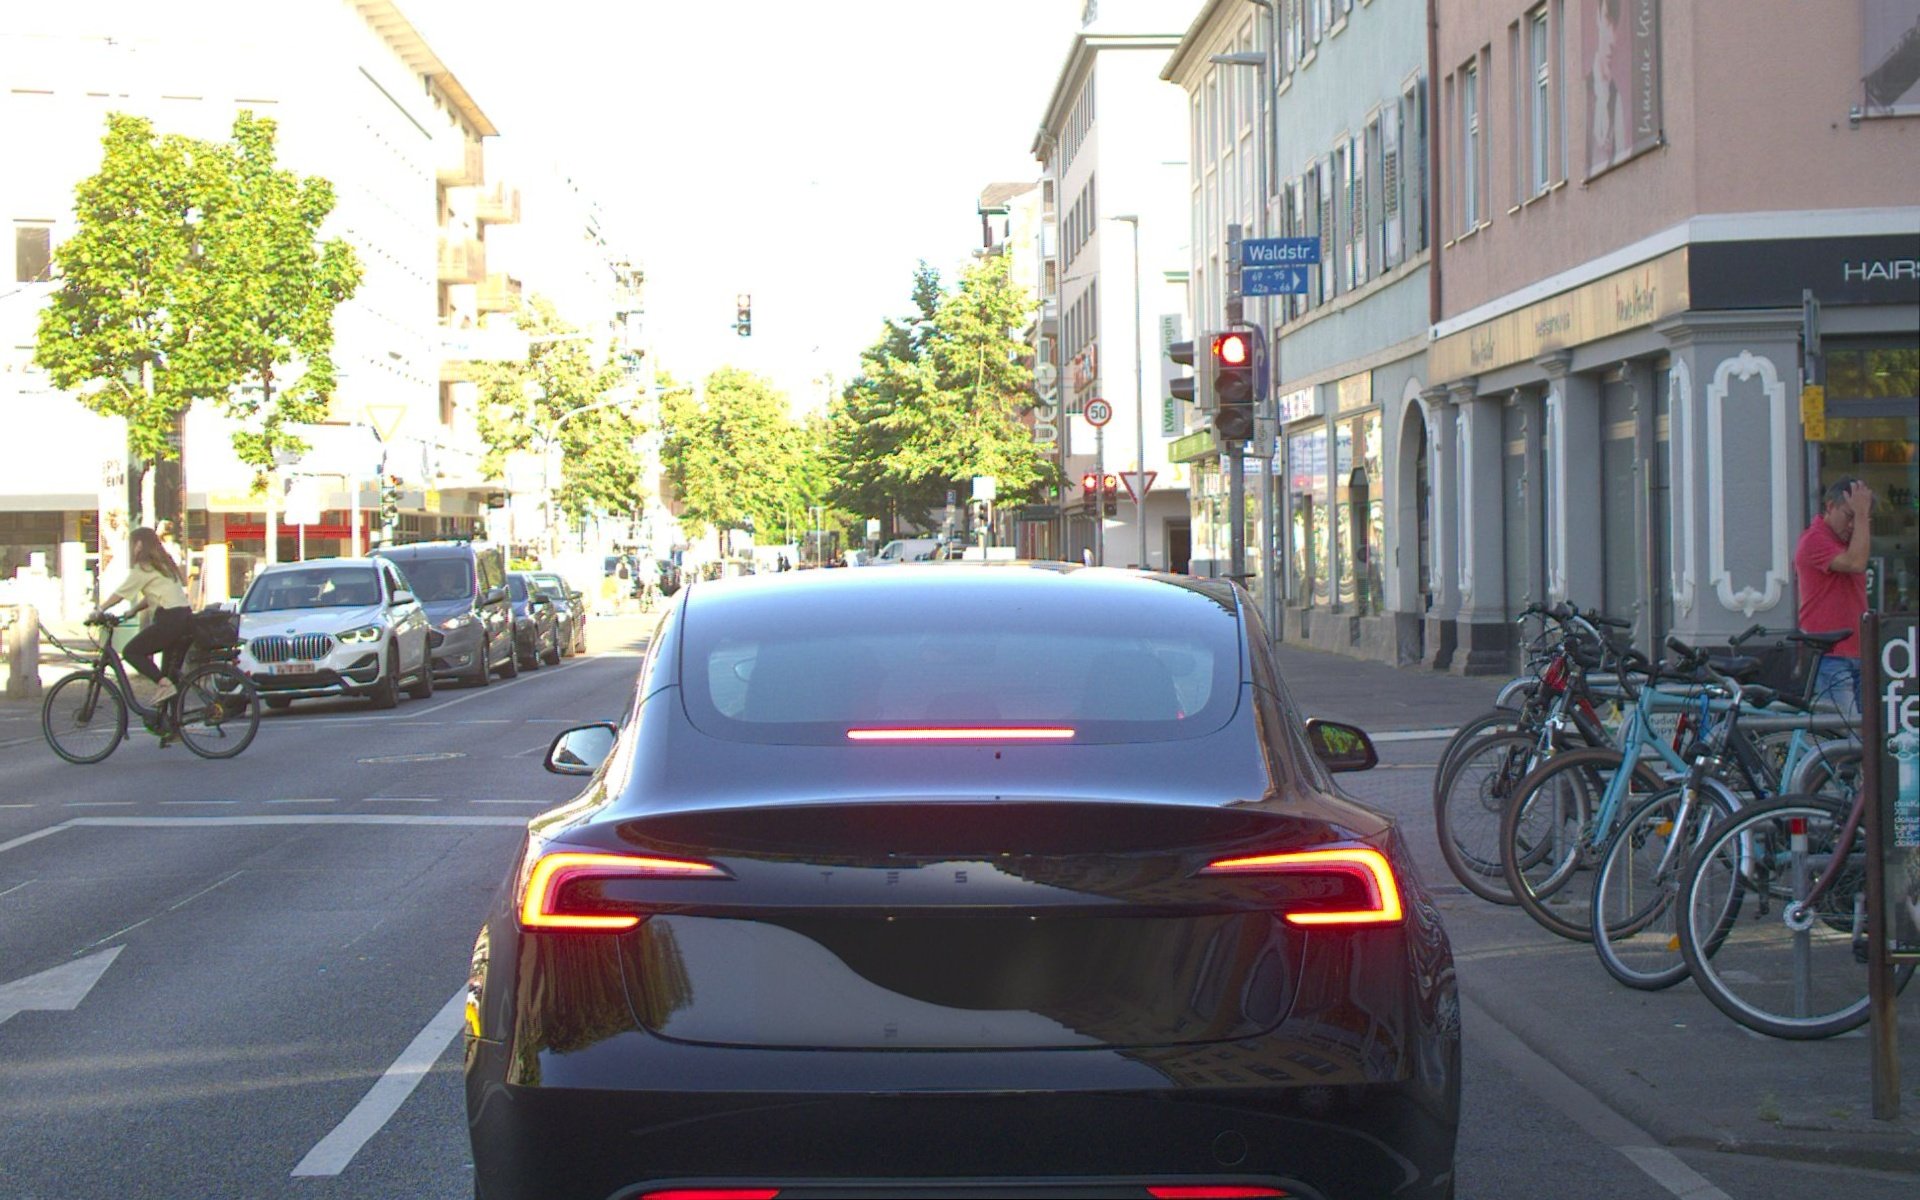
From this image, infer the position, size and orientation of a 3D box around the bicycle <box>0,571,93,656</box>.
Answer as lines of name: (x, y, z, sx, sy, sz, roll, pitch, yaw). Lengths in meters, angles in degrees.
bicycle: (-14.535, 0.191, 52.152, 2.542, 1.247, 0.943, 1, 0, -3)

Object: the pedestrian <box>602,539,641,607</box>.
pedestrian: (-9.297, -0.749, 94.480, 0.734, 1.861, 0.789, 1, 0, 28)

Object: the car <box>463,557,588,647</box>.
car: (-7.132, 0.023, 56.758, 1.693, 1.385, 3.916, -2, 0, -2)

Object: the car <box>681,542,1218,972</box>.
car: (-0.062, 0.525, 14.209, 1.850, 1.476, 4.452, 1, 1, -1)

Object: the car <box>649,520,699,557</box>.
car: (-15.647, -3.355, 188.292, 2.275, 2.007, 4.717, 1, 1, 1)

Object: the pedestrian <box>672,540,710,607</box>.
pedestrian: (-7.483, -0.736, 95.741, 0.774, 1.861, 1.009, 1, 0, -21)

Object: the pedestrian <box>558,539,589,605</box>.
pedestrian: (-10.918, -0.798, 97.088, 0.732, 1.861, 0.791, 1, 0, -17)

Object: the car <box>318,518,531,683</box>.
car: (-6.575, -0.034, 42.674, 1.945, 1.940, 4.820, 0, 1, -1)

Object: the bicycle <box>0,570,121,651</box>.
bicycle: (-14.696, 0.165, 54.576, 2.542, 1.247, 0.943, 1, 0, -3)

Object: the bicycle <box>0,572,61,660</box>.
bicycle: (-14.490, 0.219, 49.876, 2.662, 1.255, 0.943, 1, 0, -3)

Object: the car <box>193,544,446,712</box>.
car: (-6.689, 0.256, 36.351, 1.825, 1.559, 4.301, -4, 1, -1)

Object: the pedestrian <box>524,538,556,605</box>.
pedestrian: (-11.851, -0.810, 96.952, 0.732, 1.861, 0.791, 1, 0, -17)

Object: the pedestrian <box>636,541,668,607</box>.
pedestrian: (-8.662, -0.733, 96.671, 0.694, 1.861, 0.910, 1, 0, -16)

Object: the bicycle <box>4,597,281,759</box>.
bicycle: (-6.254, 0.594, 26.316, 1.954, 1.154, 0.575, -2, 0, 11)

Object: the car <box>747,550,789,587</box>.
car: (-10.441, -1.740, 187.145, 2.132, 1.963, 4.134, 0, 1, -1)

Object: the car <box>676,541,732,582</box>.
car: (-12.394, -1.869, 166.463, 2.414, 1.963, 4.678, 0, 1, -1)

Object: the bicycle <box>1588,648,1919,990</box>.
bicycle: (2.997, 0.693, 11.133, 1.813, 1.056, 0.653, 0, 1, 1)

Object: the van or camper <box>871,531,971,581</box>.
van or camper: (-1.900, -2.132, 167.560, 4.850, 2.430, 1.851, 0, 1, -1)

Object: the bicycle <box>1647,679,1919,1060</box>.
bicycle: (3.024, 0.760, 10.061, 1.882, 1.040, 0.653, -1, 1, 1)

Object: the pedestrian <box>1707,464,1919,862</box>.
pedestrian: (4.171, 0.263, 15.542, 1.058, 1.714, 1.113, 0, 1, -41)

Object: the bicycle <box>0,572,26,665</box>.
bicycle: (-14.489, 0.237, 47.558, 2.875, 1.266, 0.943, 1, 0, -3)

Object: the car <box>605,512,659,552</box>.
car: (-17.124, -3.535, 179.653, 2.275, 2.007, 4.717, 1, 1, 1)

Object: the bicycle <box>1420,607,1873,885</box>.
bicycle: (2.920, 0.613, 14.747, 1.813, 1.148, 0.653, 0, 1, 1)

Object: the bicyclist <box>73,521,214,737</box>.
bicyclist: (-6.243, 0.213, 26.307, 0.826, 1.609, 0.579, -2, 1, 10)

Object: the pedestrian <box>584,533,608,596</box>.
pedestrian: (-10.997, -1.072, 103.890, 0.695, 1.861, 0.659, 1, 0, -5)

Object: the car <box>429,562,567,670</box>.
car: (-6.656, 0.207, 49.808, 1.461, 1.425, 3.606, -4, 1, -1)

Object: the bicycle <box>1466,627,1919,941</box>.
bicycle: (2.798, 0.657, 12.539, 1.813, 1.098, 0.653, 0, 1, 1)

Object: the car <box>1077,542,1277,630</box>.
car: (4.707, -0.322, 74.686, 3.992, 1.861, 1.698, 0, 1, -21)

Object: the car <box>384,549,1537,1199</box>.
car: (-0.026, 0.629, 7.785, 1.850, 1.442, 4.452, 1, 1, -1)

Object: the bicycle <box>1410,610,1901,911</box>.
bicycle: (2.729, 0.621, 13.613, 1.813, 1.148, 0.653, 0, 1, 1)

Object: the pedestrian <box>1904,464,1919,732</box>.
pedestrian: (5.447, 0.182, 17.975, 0.681, 1.843, 0.893, -4, 0, 1)
